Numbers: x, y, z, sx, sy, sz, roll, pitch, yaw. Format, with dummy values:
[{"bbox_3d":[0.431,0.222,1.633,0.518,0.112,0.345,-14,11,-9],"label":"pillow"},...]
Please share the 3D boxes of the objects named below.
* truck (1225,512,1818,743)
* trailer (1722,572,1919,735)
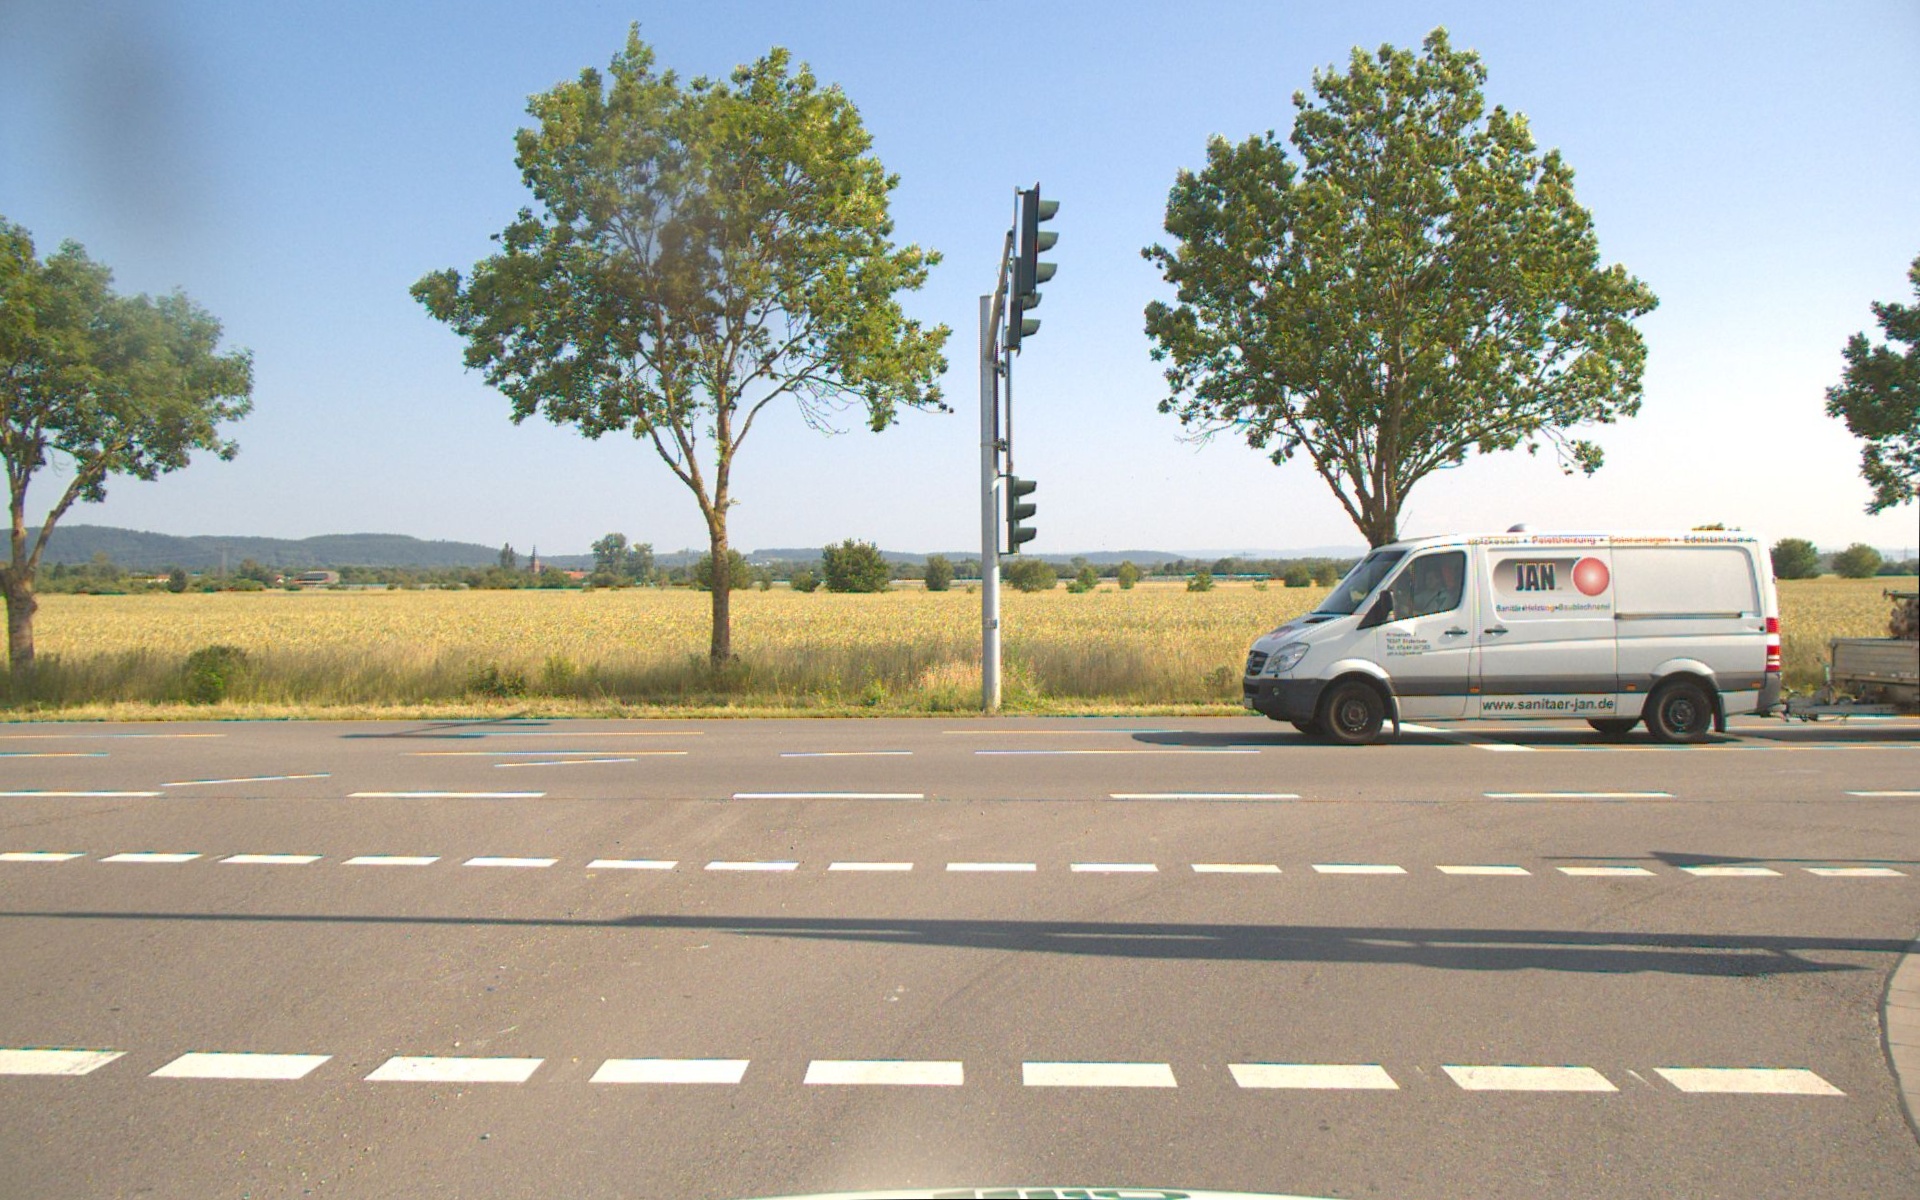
[{"bbox_3d":[6.223,0.304,18.850,6.053,2.447,2.071,0,-1,-1],"label":"truck"},{"bbox_3d":[11.709,0.581,19.117,4.895,1.768,1.980,0,-1,-2],"label":"trailer"}]
